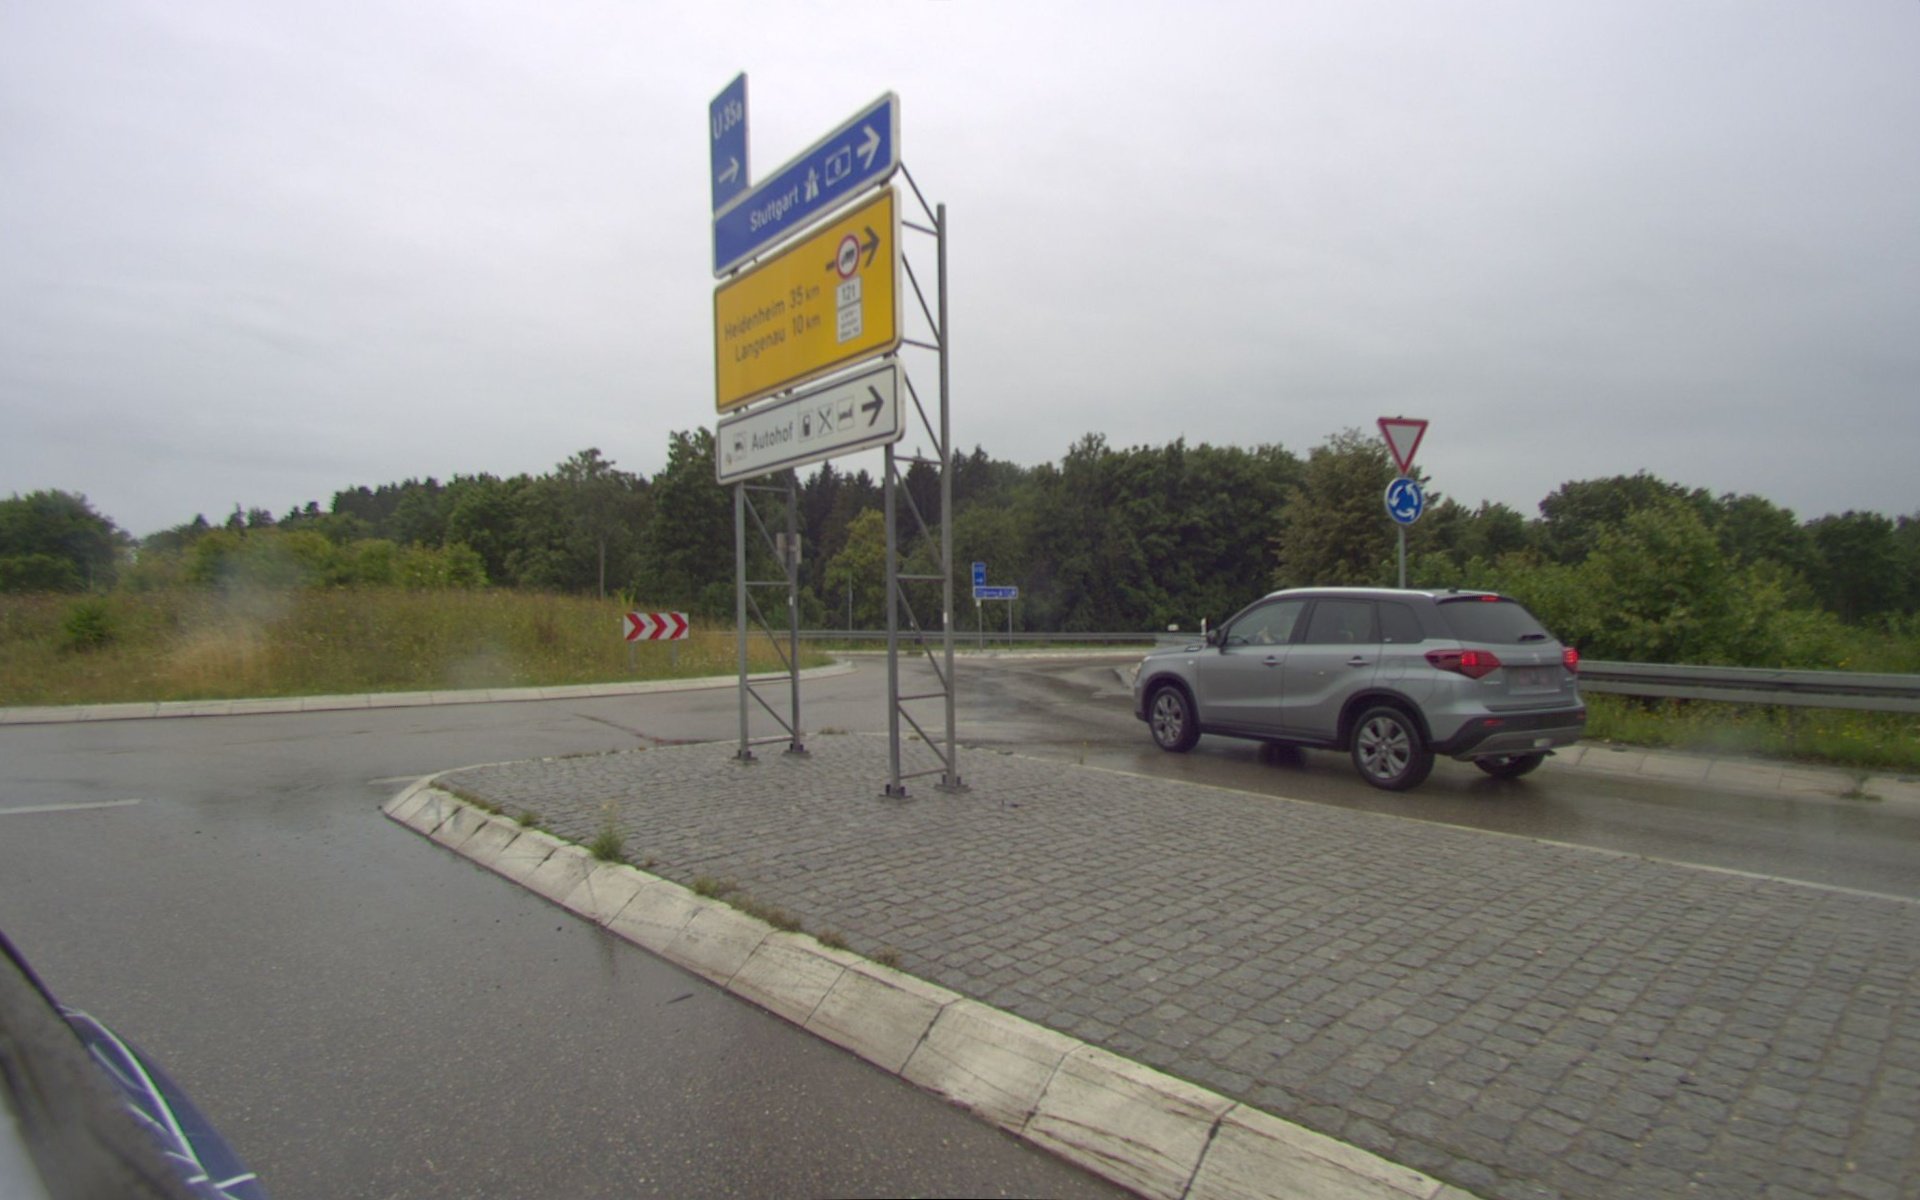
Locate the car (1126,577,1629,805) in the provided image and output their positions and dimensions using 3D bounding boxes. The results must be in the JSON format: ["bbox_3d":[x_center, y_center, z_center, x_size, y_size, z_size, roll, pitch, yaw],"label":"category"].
[{"bbox_3d":[3.478,0.648,9.237,1.775,1.587,4.013,0,-1,-29],"label":"car"}]
